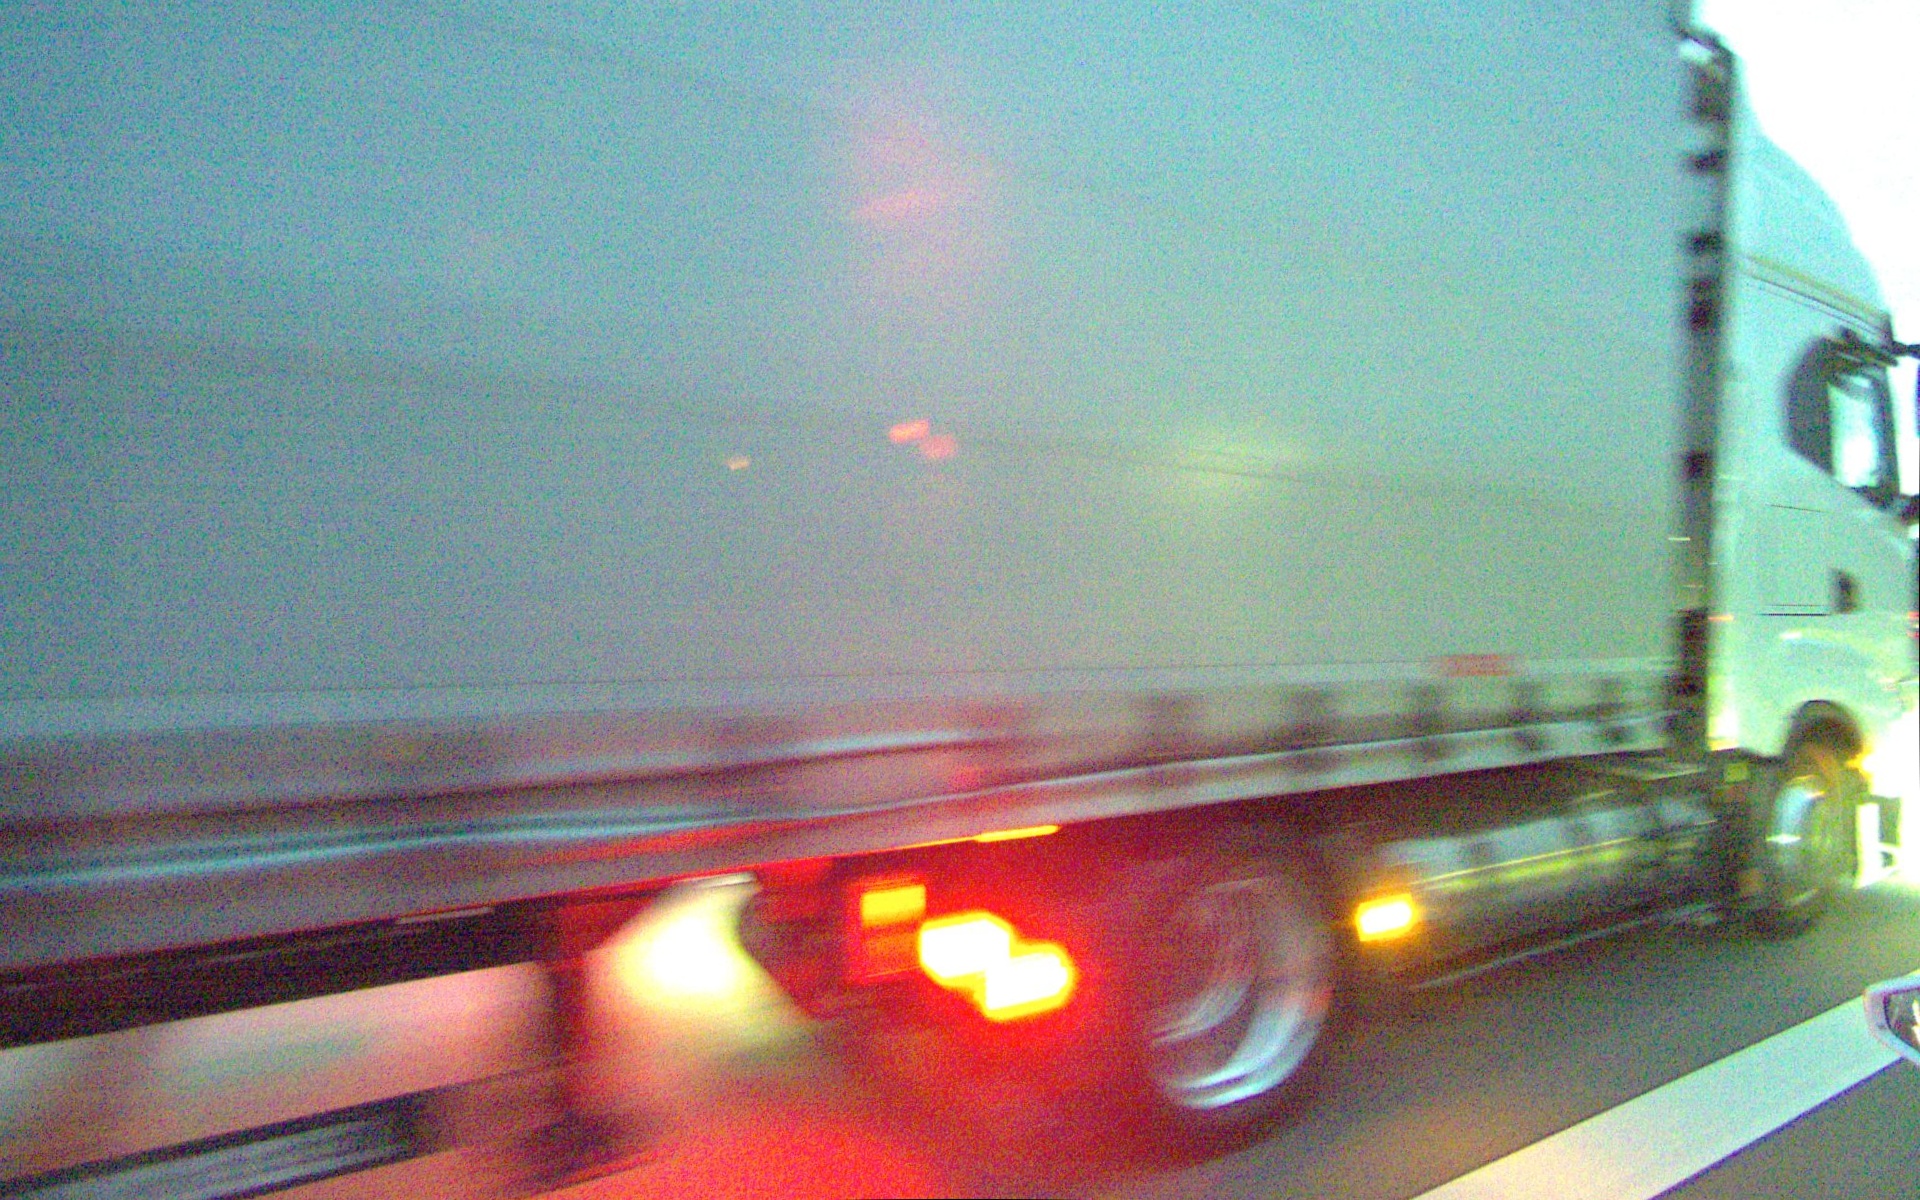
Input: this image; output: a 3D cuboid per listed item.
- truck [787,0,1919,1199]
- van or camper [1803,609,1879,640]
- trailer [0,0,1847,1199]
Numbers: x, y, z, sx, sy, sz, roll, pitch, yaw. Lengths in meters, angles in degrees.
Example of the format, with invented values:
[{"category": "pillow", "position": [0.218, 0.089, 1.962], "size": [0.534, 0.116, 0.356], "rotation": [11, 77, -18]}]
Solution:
[{"category": "truck", "position": [2.506, -0.409, 5.122], "size": [6.082, 3.954, 2.766], "rotation": [1, 0, -30]}, {"category": "van or camper", "position": [61.559, 1.711, 70.171], "size": [6.424, 2.040, 2.363], "rotation": [2, -1, -33]}, {"category": "trailer", "position": [-3.292, -0.542, 1.675], "size": [14.646, 3.967, 2.760], "rotation": [1, -1, -31]}]
